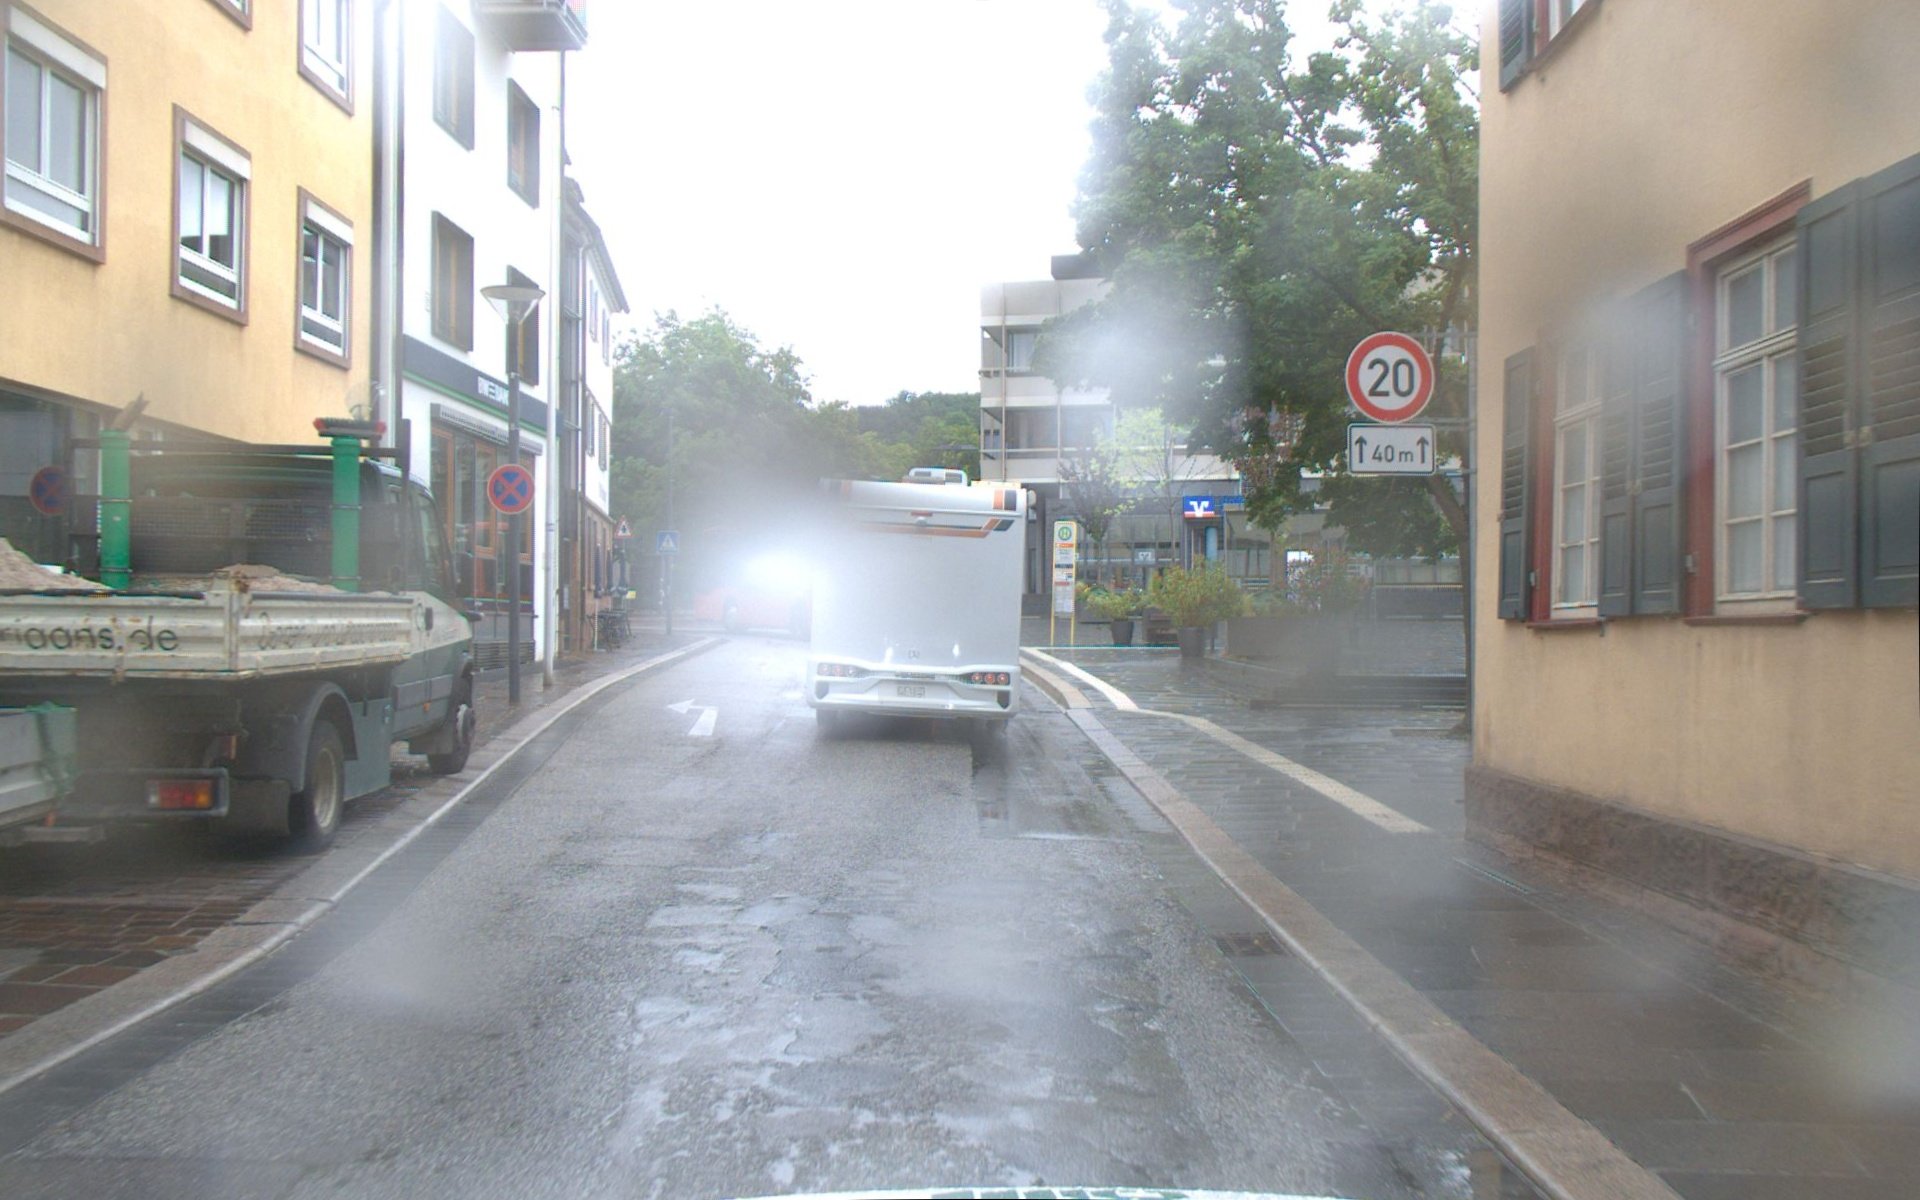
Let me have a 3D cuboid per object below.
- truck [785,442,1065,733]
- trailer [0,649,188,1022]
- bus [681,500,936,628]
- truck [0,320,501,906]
[{"bbox_3d":[-0.468,-0.119,19.691,2.749,2.845,6.104,-2,0,-2],"label":"truck"},{"bbox_3d":[-4.243,0.864,5.937,1.817,1.144,3.015,-1,2,-8],"label":"trailer"},{"bbox_3d":[-4.551,-0.872,46.812,2.994,3.201,10.036,-1,0,-32],"label":"bus"},{"bbox_3d":[-4.729,-0.062,10.654,2.353,2.639,6.476,0,2,-6],"label":"truck"}]
